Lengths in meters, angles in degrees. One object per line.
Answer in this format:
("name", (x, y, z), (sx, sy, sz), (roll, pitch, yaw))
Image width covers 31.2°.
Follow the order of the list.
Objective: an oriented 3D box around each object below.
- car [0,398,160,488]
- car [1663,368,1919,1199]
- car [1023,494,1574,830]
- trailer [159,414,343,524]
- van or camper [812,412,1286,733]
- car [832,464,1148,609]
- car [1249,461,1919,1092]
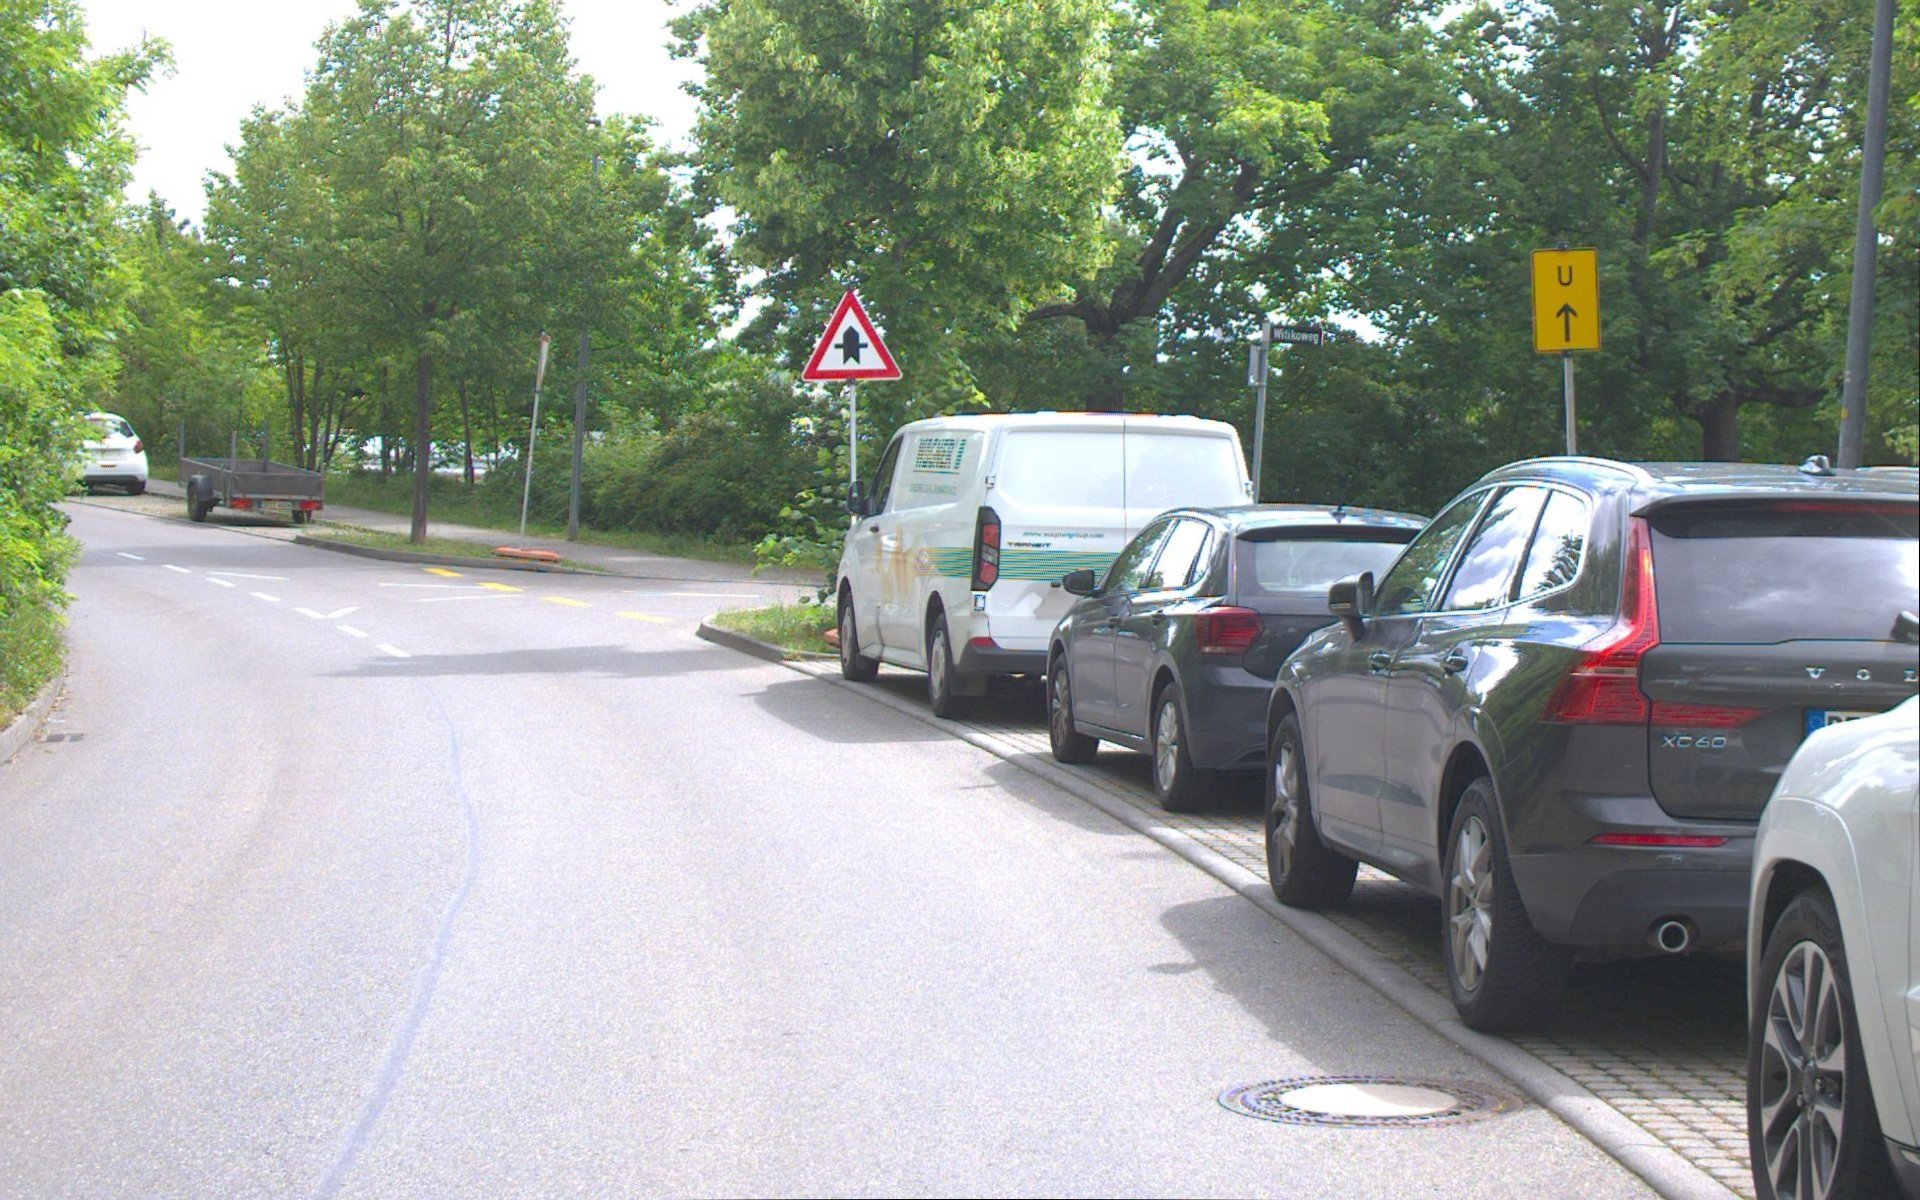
("car", (-16.175, -2.883, 62.825), (1.769, 1.406, 4.001), (-1, 6, -33))
("car", (2.581, 0.530, 4.970), (1.871, 1.683, 4.580), (3, 2, -3))
("car", (1.579, 0.228, 17.541), (1.797, 1.459, 4.001), (2, 1, -9))
("trailer", (-11.353, -2.109, 54.857), (1.784, 1.520, 4.001), (0, 5, -28))
("van or camper", (0.445, -0.280, 23.478), (1.993, 1.913, 5.268), (1, 2, -12))
("car", (0.337, -0.793, 42.110), (3.535, 1.475, 1.782), (4, 3, -9))
("car", (2.275, 0.372, 11.029), (1.993, 1.620, 4.279), (0, 2, -5))
